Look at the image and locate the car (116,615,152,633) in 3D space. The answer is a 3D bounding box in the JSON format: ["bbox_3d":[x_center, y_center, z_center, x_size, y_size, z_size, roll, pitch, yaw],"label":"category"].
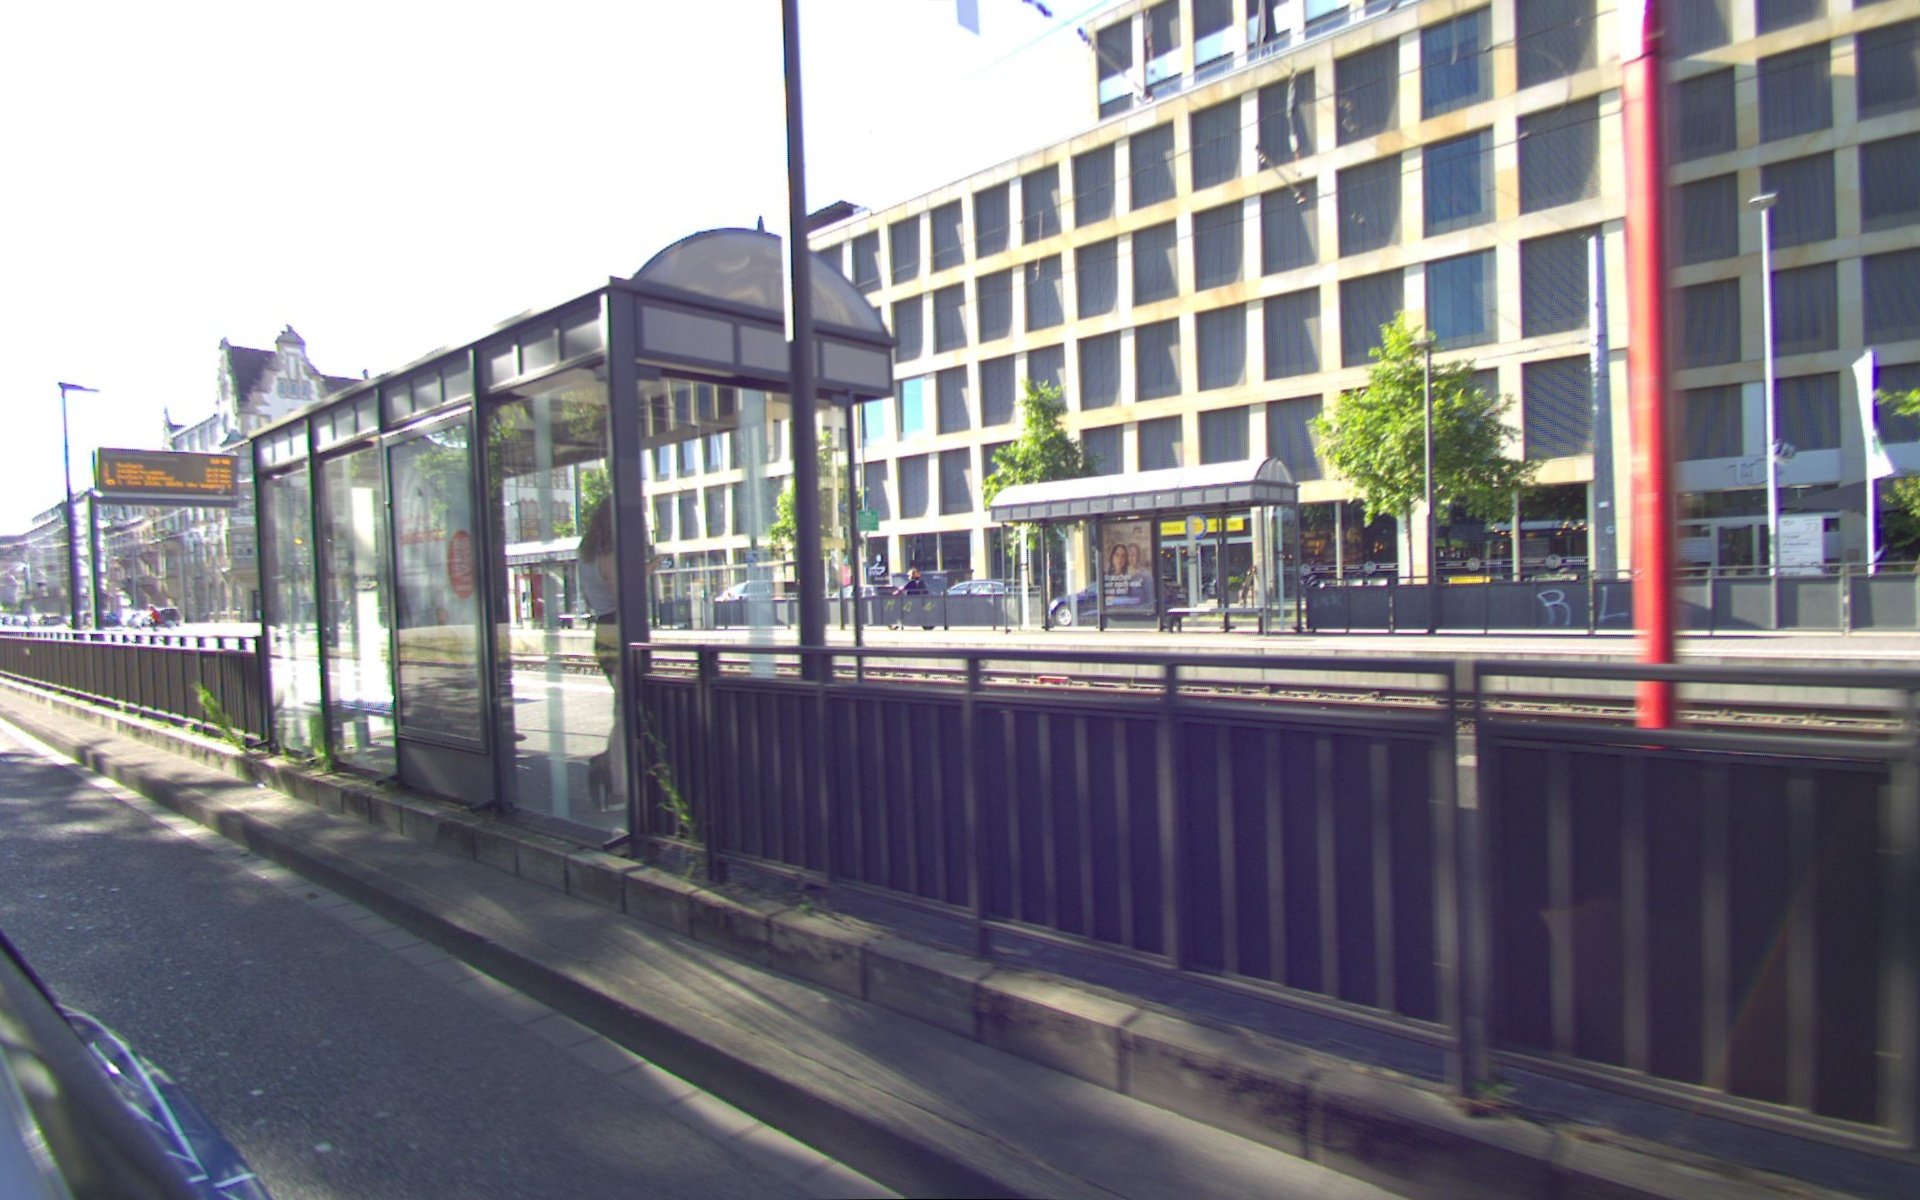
[{"bbox_3d":[-81.210,2.341,99.451,3.992,1.536,1.722,-2,3,36],"label":"car"}]

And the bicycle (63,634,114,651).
[{"bbox_3d":[-39.177,1.885,45.522,1.700,0.613,0.512,-4,3,-40],"label":"bicycle"}]

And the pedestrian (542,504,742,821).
[{"bbox_3d":[-1.679,0.295,5.354,0.666,1.520,0.737,-2,1,44],"label":"pedestrian"}]

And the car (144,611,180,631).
[{"bbox_3d":[-72.994,1.920,92.570,3.996,1.682,1.758,-2,1,39],"label":"car"}]

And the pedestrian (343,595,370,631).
[{"bbox_3d":[-28.696,0.639,48.103,0.933,1.656,0.785,-2,1,42],"label":"pedestrian"}]

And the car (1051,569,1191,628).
[{"bbox_3d":[4.549,-0.025,28.795,3.599,1.523,1.627,-2,1,42],"label":"car"}]

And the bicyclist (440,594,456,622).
[{"bbox_3d":[-33.448,0.513,66.120,0.643,1.821,0.663,-2,1,22],"label":"bicyclist"}]

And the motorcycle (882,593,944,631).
[{"bbox_3d":[-1.329,0.348,28.362,1.841,1.029,0.598,-2,1,42],"label":"motorcycle"}]

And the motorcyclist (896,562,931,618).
[{"bbox_3d":[-1.299,-0.282,28.299,0.765,1.545,0.569,-2,1,42],"label":"motorcyclist"}]

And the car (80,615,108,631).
[{"bbox_3d":[-94.413,2.540,110.305,3.998,1.536,1.719,-2,3,41],"label":"car"}]

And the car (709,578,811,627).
[{"bbox_3d":[-7.923,0.132,39.990,3.999,1.782,1.898,-2,1,42],"label":"car"}]

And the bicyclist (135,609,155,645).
[{"bbox_3d":[-38.164,1.252,47.390,0.620,1.630,0.685,-3,1,-41],"label":"bicyclist"}]

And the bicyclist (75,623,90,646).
[{"bbox_3d":[-39.368,1.539,45.416,0.456,1.001,0.512,-3,1,-39],"label":"bicyclist"}]

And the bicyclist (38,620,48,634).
[{"bbox_3d":[-108.706,3.183,119.965,0.629,1.630,0.675,-2,1,37],"label":"bicyclist"}]

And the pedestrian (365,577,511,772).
[{"bbox_3d":[-3.690,0.493,7.167,0.524,1.283,0.734,-2,1,41],"label":"pedestrian"}]

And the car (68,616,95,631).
[{"bbox_3d":[-99.154,2.611,114.229,3.998,1.536,1.719,-2,3,41],"label":"car"}]

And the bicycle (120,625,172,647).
[{"bbox_3d":[-38.123,1.674,47.416,1.861,0.884,0.608,-3,1,-41],"label":"bicycle"}]

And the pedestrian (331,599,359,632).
[{"bbox_3d":[-31.736,0.810,52.236,0.792,1.656,0.924,-2,1,28],"label":"pedestrian"}]
